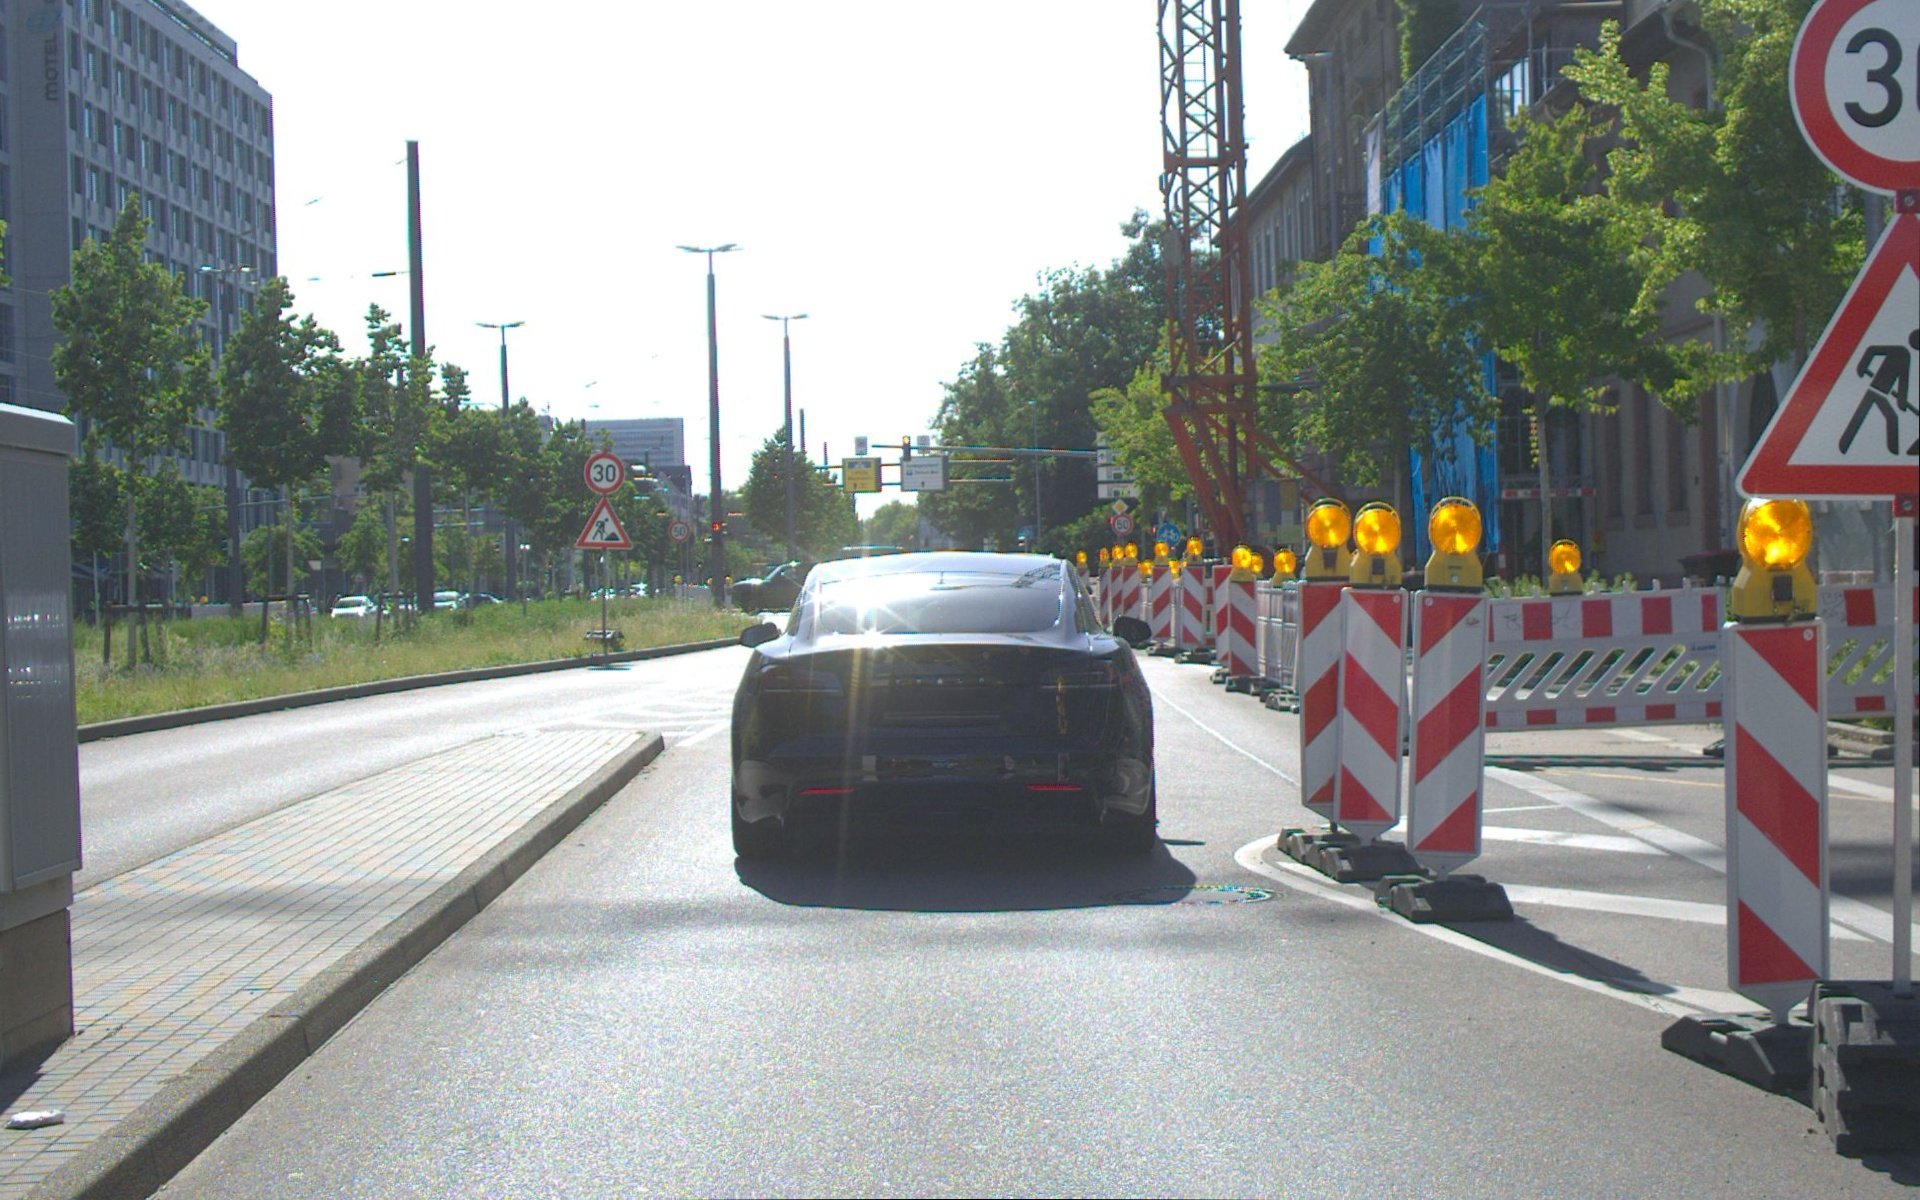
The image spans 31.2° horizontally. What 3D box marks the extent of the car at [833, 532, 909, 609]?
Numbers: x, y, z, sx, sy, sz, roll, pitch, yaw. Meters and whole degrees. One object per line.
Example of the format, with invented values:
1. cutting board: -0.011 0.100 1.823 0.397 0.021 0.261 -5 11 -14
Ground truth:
1. car: -2.686 -0.890 103.010 2.218 2.259 4.484 0 1 -2

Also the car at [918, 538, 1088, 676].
1. car: 0.424 0.050 38.445 1.747 1.422 4.838 -1 1 -1

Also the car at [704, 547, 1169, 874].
1. car: -0.137 0.463 17.409 2.051 1.439 4.524 0 1 -1

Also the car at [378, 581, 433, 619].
1. car: -25.018 -0.017 155.242 1.790 1.645 4.000 -2 0 0

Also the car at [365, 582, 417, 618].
1. car: -27.614 -0.018 166.919 1.790 1.645 4.000 -2 0 0

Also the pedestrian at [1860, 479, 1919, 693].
1. pedestrian: 8.760 -0.138 31.334 0.793 1.922 0.770 -1 1 -15
